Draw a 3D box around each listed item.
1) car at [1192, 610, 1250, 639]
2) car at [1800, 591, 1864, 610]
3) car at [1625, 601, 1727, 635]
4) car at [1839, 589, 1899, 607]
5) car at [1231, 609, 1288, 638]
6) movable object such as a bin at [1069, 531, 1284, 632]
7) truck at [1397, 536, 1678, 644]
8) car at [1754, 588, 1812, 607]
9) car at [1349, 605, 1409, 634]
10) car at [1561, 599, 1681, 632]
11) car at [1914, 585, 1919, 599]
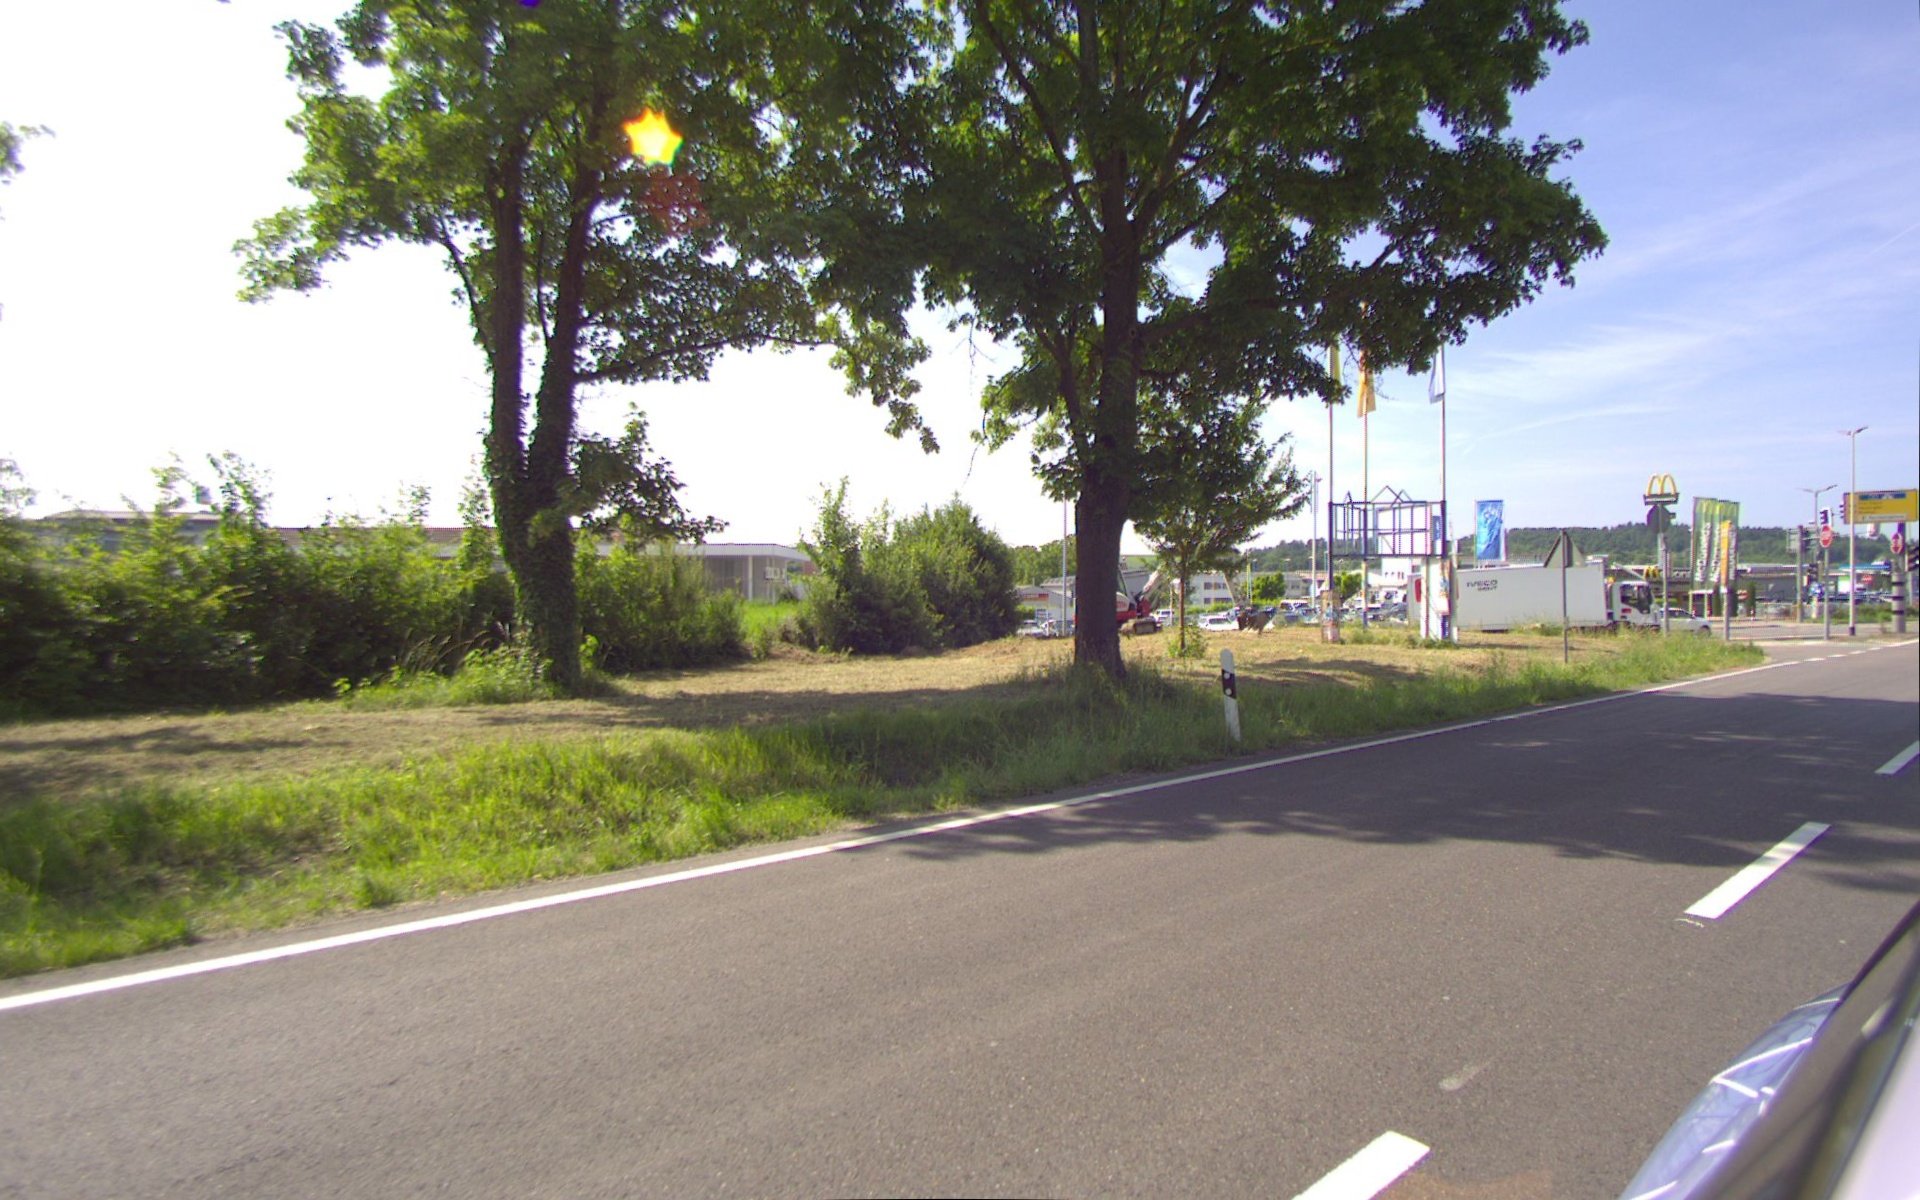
[{"bbox_3d":[16.452,1.523,63.995,2.049,1.638,4.481,0,1,-6],"label":"car"},{"bbox_3d":[78.142,0.019,90.688,4.150,1.596,1.862,0,1,-3],"label":"car"},{"bbox_3d":[35.231,0.878,49.843,3.684,1.523,1.711,-2,-1,0],"label":"car"},{"bbox_3d":[91.663,-0.228,102.085,3.942,1.691,1.912,1,1,15],"label":"car"},{"bbox_3d":[18.909,1.449,64.137,1.960,1.638,4.484,0,1,-4],"label":"car"},{"bbox_3d":[7.264,-0.640,34.574,6.573,3.247,2.904,0,1,-3],"label":"movable object such as a bin"},{"bbox_3d":[23.696,-0.292,42.035,9.631,3.675,2.734,-5,-2,34],"label":"truck"},{"bbox_3d":[77.559,-0.236,95.389,4.088,1.691,1.777,0,1,-3],"label":"car"},{"bbox_3d":[26.418,1.212,63.937,1.961,1.593,4.003,0,1,-2],"label":"car"},{"bbox_3d":[34.599,0.811,53.058,4.906,1.524,1.999,-2,-1,1],"label":"car"},{"bbox_3d":[125.856,-1.038,131.426,4.450,1.675,1.777,0,2,-33],"label":"car"}]
